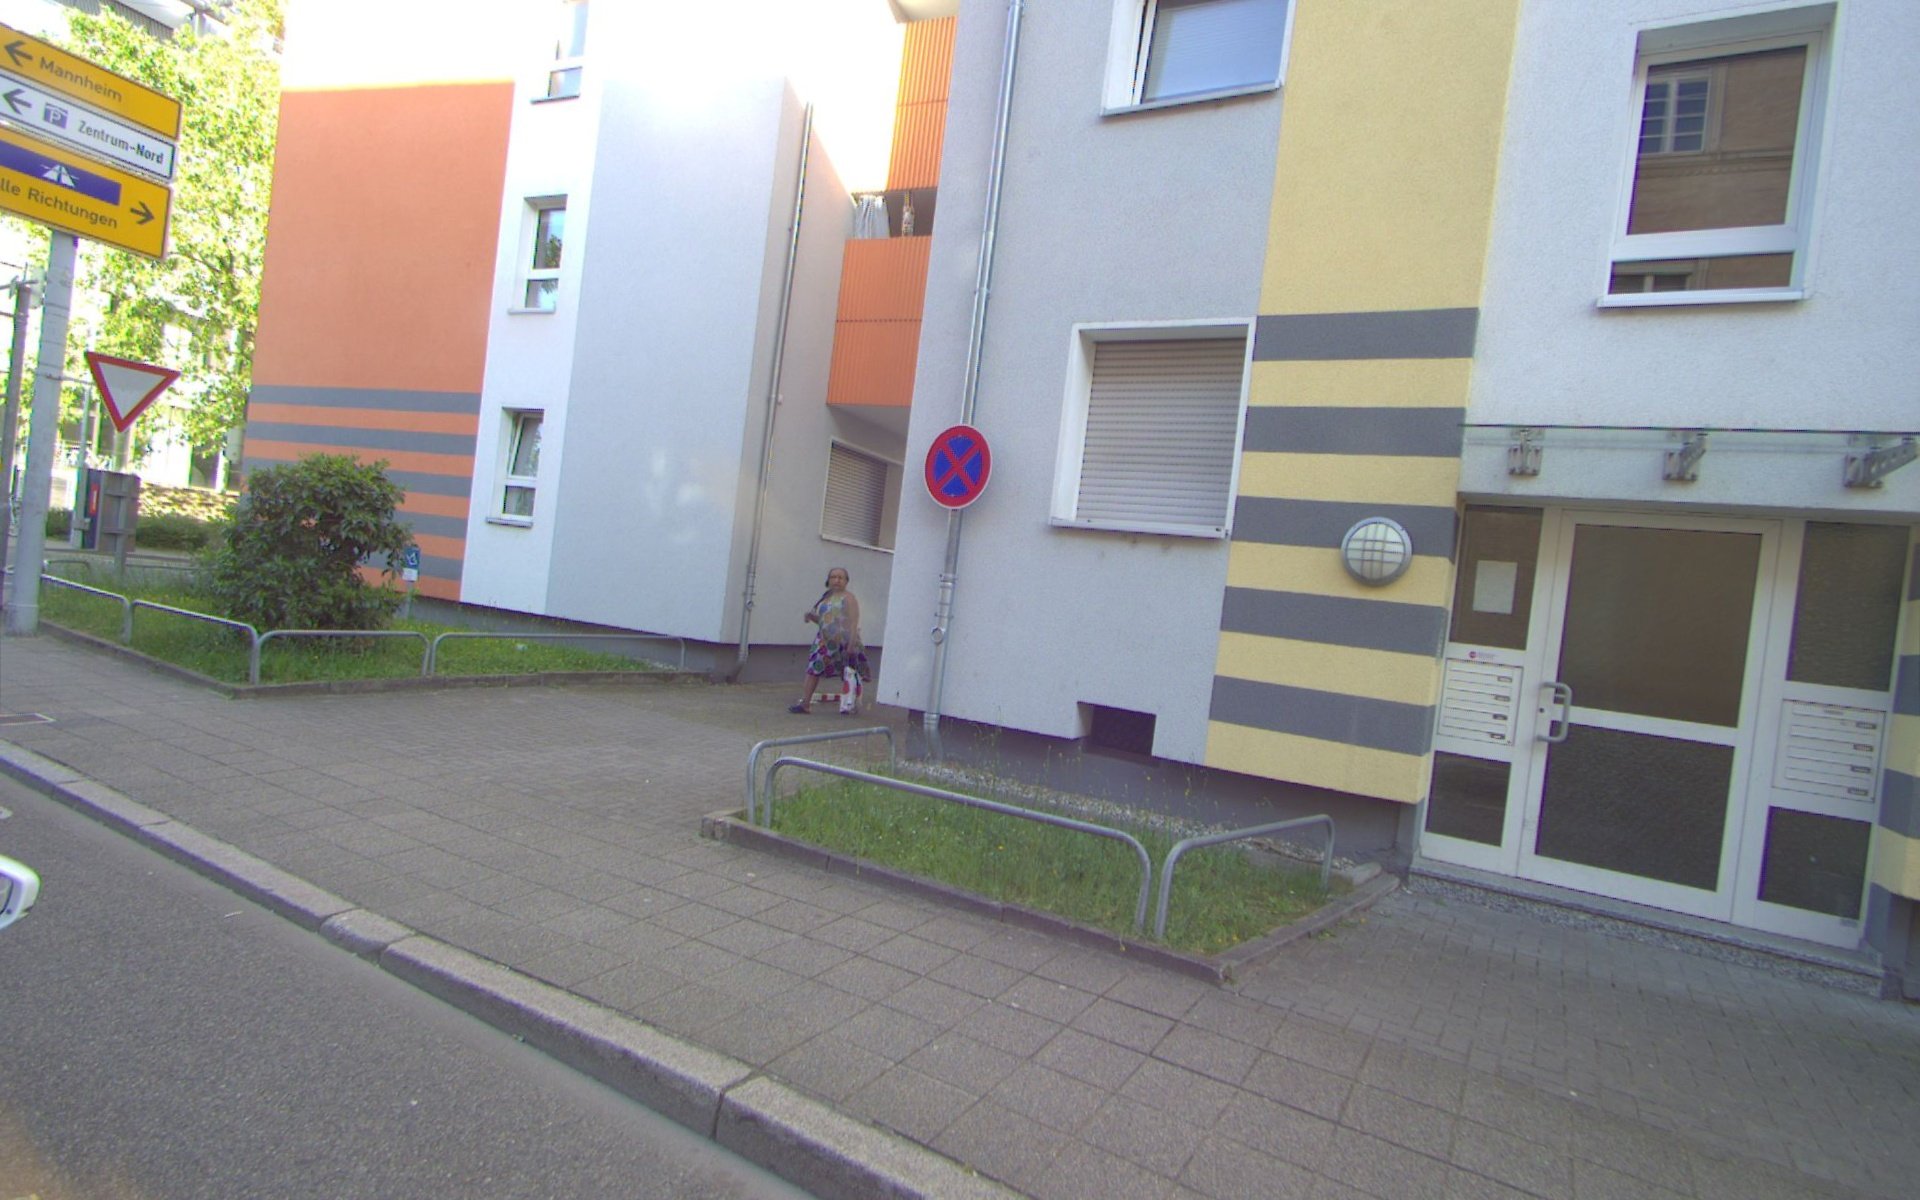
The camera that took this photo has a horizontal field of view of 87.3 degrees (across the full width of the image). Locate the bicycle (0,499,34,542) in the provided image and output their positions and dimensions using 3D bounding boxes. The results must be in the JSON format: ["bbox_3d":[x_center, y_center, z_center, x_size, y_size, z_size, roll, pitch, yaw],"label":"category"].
[{"bbox_3d":[-26.419,-2.245,27.277,1.883,1.062,0.463,7,1,-10],"label":"bicycle"}]

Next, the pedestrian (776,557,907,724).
[{"bbox_3d":[-1.243,0.420,10.583,0.941,1.593,0.749,7,1,32],"label":"pedestrian"}]
